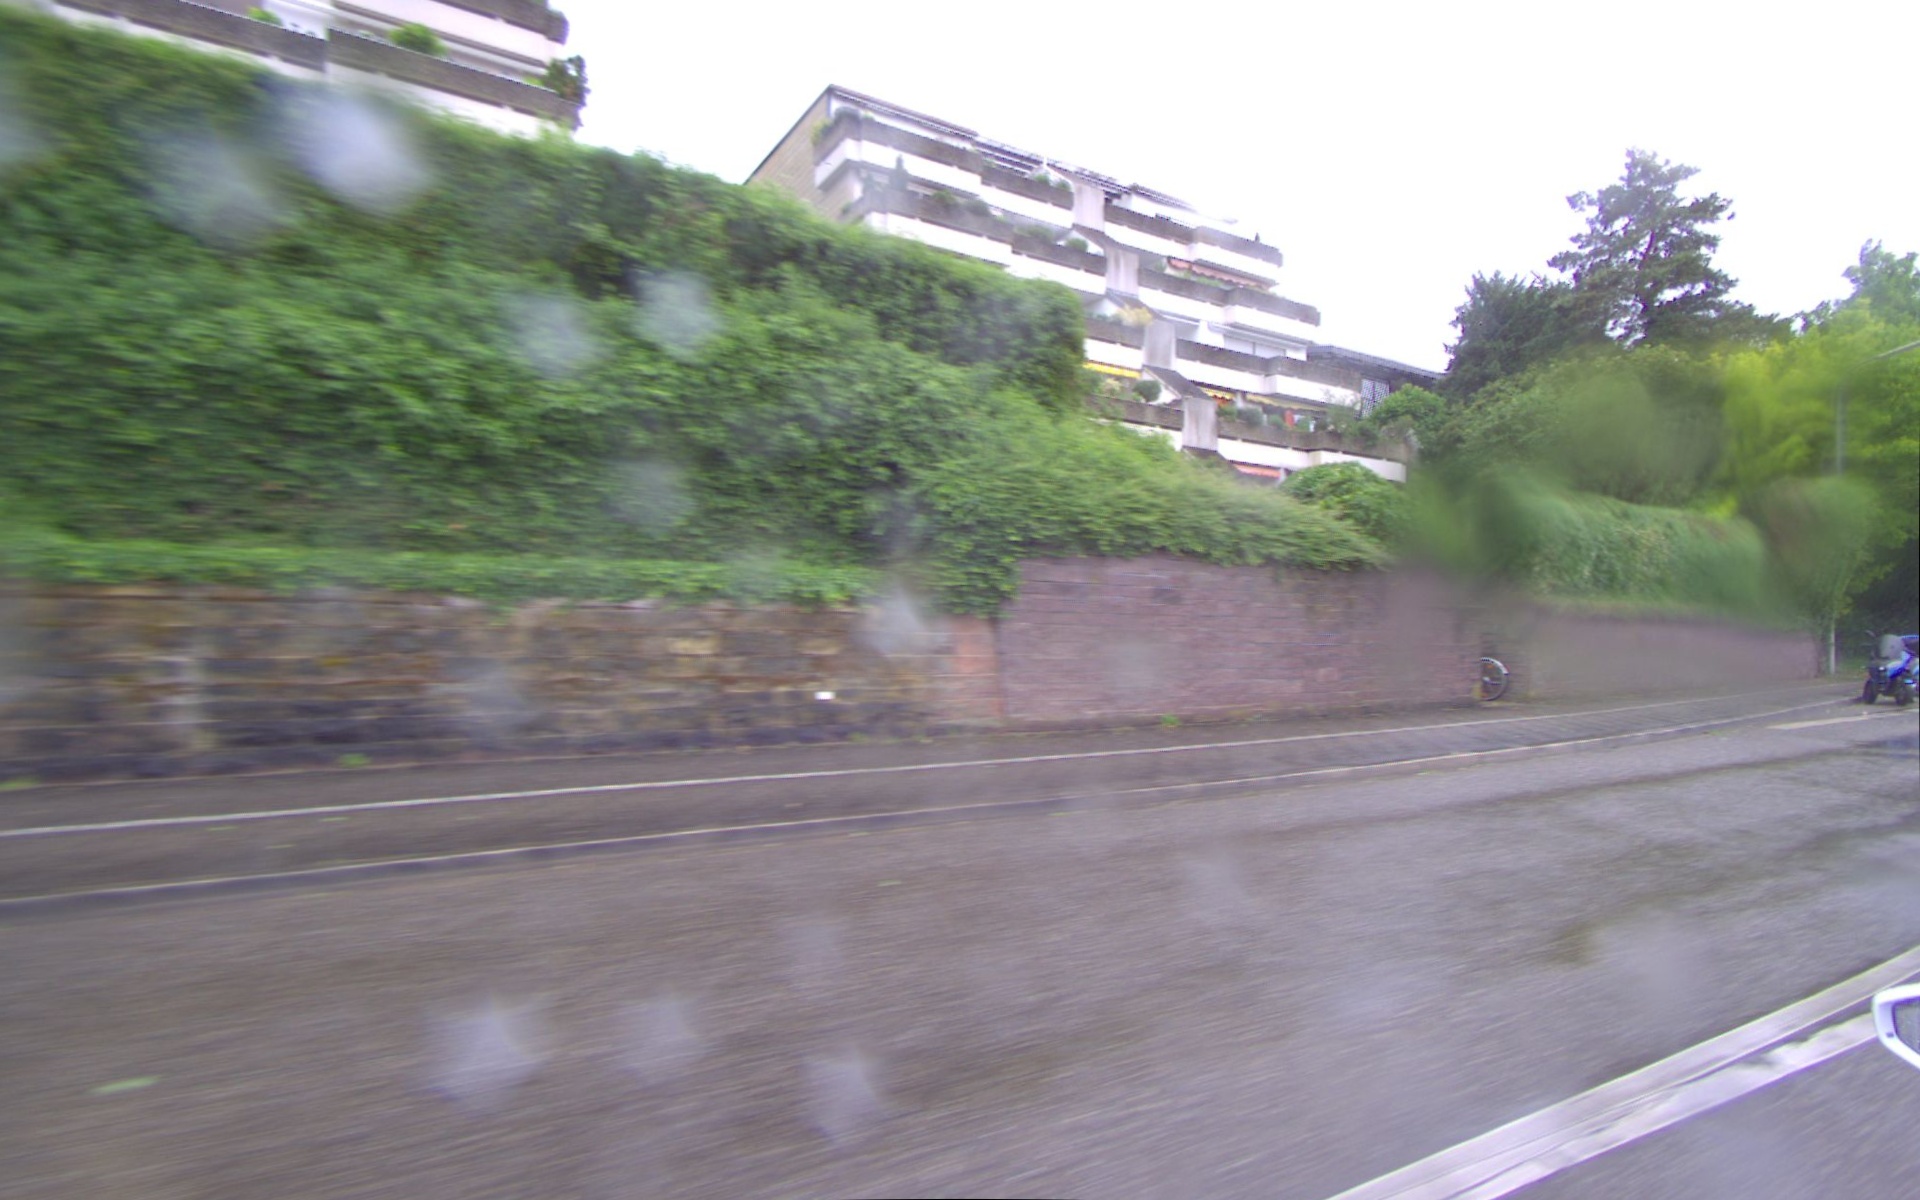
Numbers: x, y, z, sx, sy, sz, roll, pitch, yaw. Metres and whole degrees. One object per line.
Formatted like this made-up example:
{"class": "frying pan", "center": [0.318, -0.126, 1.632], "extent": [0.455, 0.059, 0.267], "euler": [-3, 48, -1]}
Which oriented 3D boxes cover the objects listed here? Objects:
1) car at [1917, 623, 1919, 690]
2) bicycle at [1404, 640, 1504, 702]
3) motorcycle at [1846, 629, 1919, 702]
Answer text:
{"class": "car", "center": [23.645, 1.335, 23.554], "extent": [2.796, 1.557, 1.422], "euler": [2, -2, -39]}
{"class": "bicycle", "center": [8.454, 1.191, 17.229], "extent": [0.465, 0.942, 1.474], "euler": [2, 0, -35]}
{"class": "motorcycle", "center": [18.251, 1.256, 19.712], "extent": [2.476, 1.359, 0.831], "euler": [2, -2, -37]}
